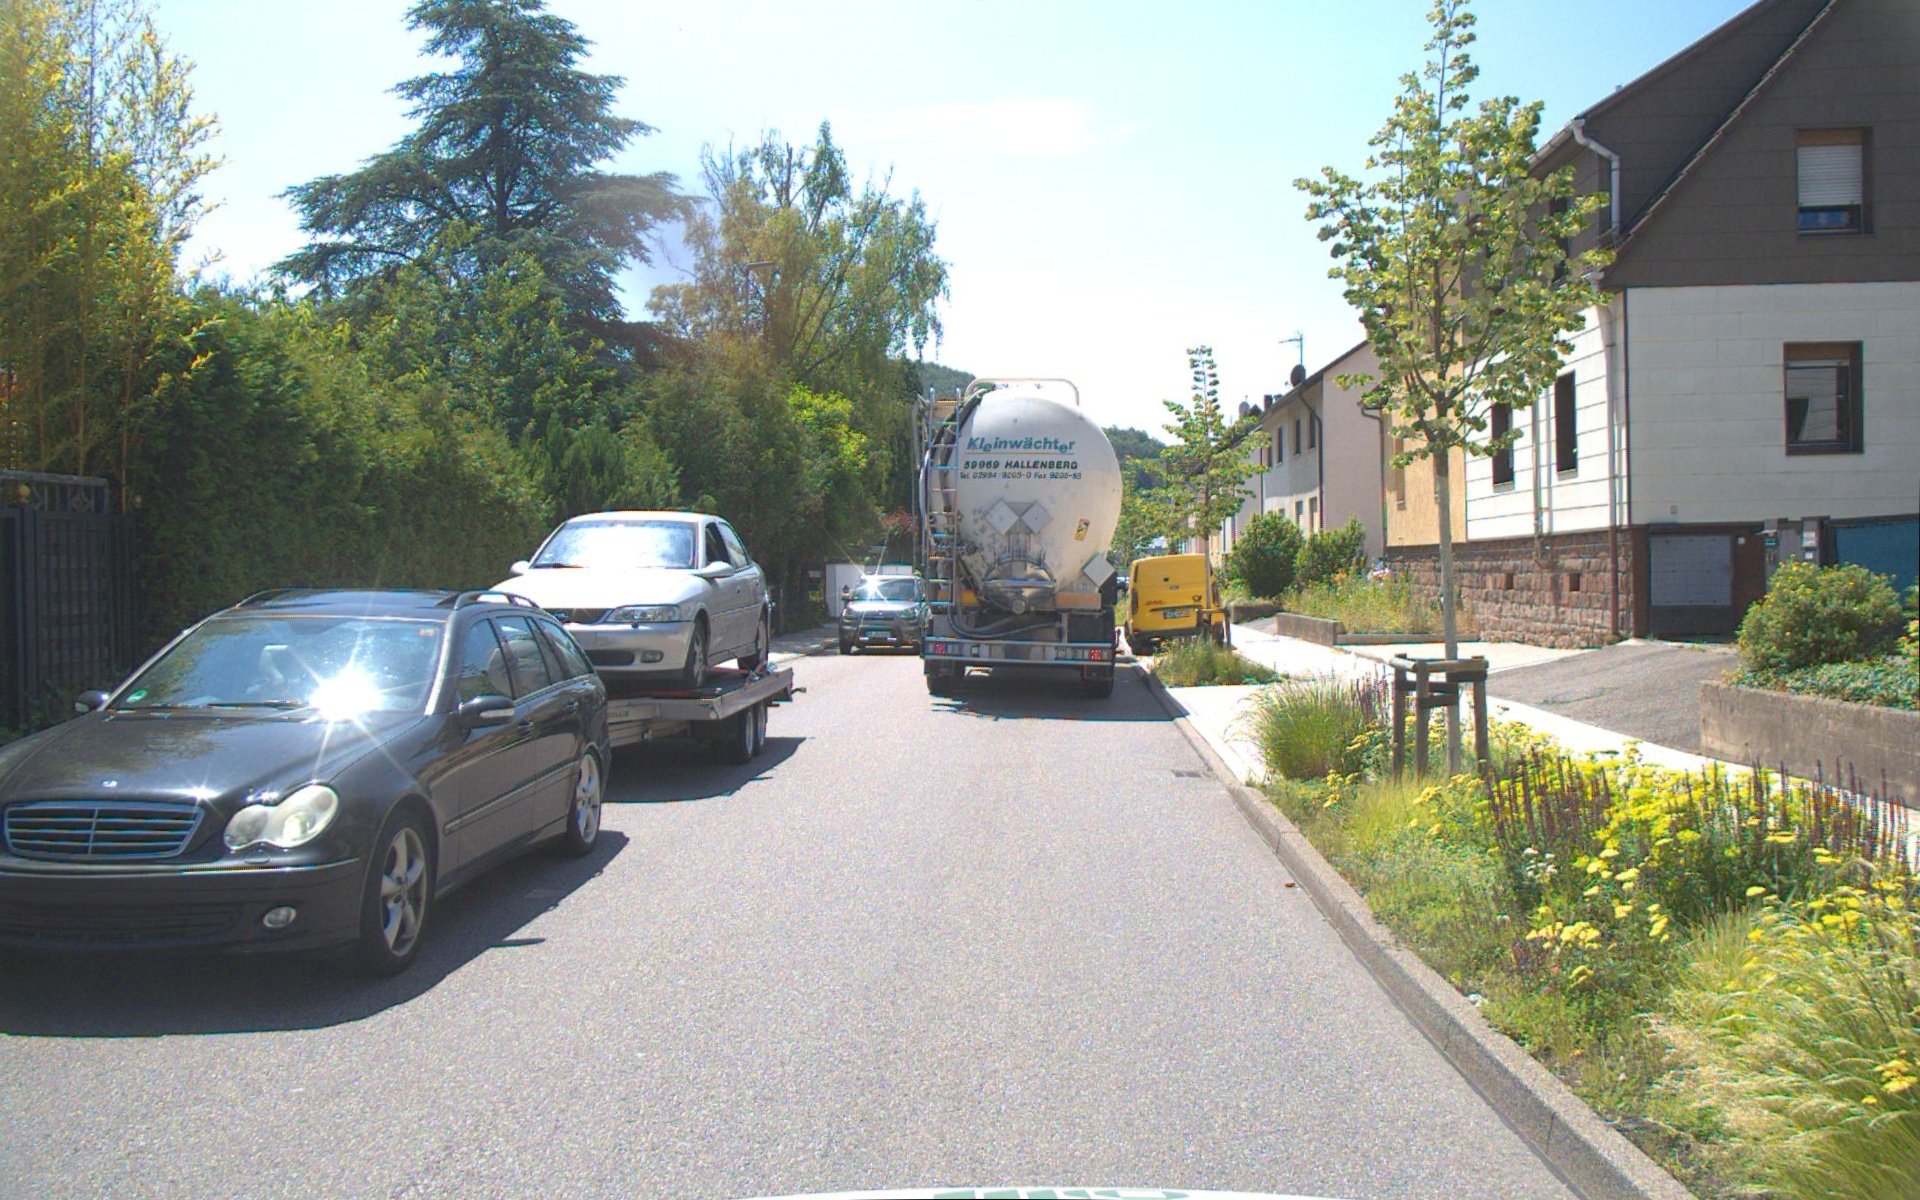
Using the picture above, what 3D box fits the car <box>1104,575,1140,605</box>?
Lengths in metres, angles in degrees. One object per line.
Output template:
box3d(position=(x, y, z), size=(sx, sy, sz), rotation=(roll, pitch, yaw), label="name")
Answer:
box3d(position=(8.819, -0.519, 90.362), size=(1.719, 1.442, 4.635), rotation=(-2, -1, 4), label="car")

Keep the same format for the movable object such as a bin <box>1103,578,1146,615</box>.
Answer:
box3d(position=(6.535, -0.130, 65.815), size=(1.539, 1.441, 3.043), rotation=(-1, 0, 3), label="movable object such as a bin")

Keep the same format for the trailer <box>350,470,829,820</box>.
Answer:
box3d(position=(-2.438, 0.272, 12.870), size=(2.111, 2.021, 6.203), rotation=(1, 0, 2), label="trailer")

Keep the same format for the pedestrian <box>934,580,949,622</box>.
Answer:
box3d(position=(-0.921, 0.048, 82.819), size=(0.705, 2.049, 0.804), rotation=(1, 0, 3), label="pedestrian")

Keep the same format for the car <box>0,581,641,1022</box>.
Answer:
box3d(position=(-2.818, 0.642, 7.616), size=(1.730, 1.427, 4.249), rotation=(1, 1, 2), label="car")

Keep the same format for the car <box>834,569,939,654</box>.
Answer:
box3d(position=(-1.516, 0.194, 35.362), size=(1.828, 1.681, 3.951), rotation=(1, 1, 3), label="car")

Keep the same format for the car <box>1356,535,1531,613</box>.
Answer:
box3d(position=(12.410, -0.657, 42.667), size=(3.905, 1.705, 1.875), rotation=(-4, 0, 1), label="car")

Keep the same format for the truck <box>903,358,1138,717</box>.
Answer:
box3d(position=(1.081, -0.798, 24.536), size=(2.692, 4.127, 10.896), rotation=(0, 1, 4), label="truck")

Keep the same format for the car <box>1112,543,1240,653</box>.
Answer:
box3d(position=(4.613, -0.024, 36.148), size=(2.144, 2.048, 5.624), rotation=(-5, 0, 3), label="car")
